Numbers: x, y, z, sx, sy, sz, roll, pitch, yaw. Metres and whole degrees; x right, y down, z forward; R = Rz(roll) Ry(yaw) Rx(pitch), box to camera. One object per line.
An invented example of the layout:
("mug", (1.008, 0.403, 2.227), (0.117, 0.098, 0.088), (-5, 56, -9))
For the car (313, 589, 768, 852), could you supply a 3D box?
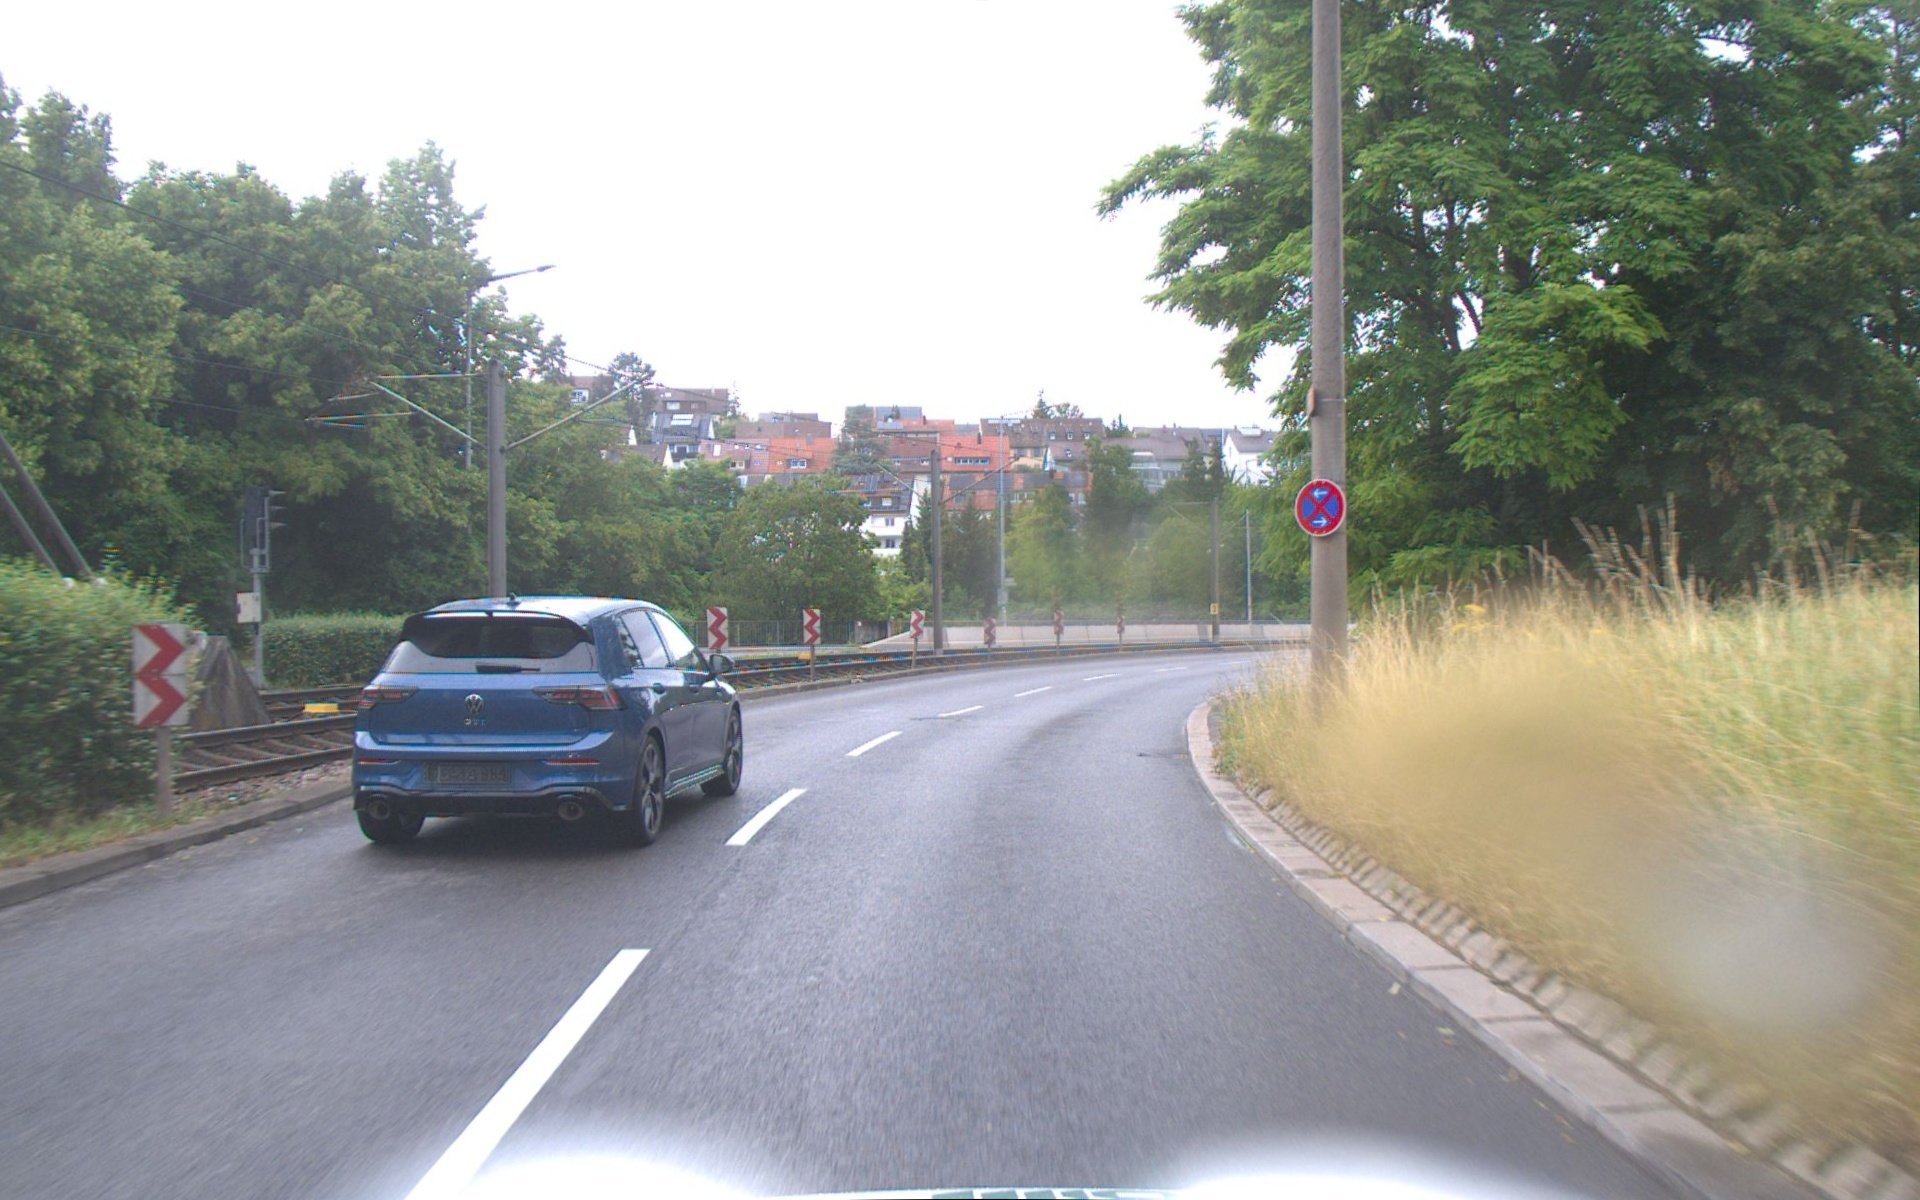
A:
("car", (-2.537, 0.671, 11.180), (1.770, 1.402, 4.348), (1, 0, 3))
